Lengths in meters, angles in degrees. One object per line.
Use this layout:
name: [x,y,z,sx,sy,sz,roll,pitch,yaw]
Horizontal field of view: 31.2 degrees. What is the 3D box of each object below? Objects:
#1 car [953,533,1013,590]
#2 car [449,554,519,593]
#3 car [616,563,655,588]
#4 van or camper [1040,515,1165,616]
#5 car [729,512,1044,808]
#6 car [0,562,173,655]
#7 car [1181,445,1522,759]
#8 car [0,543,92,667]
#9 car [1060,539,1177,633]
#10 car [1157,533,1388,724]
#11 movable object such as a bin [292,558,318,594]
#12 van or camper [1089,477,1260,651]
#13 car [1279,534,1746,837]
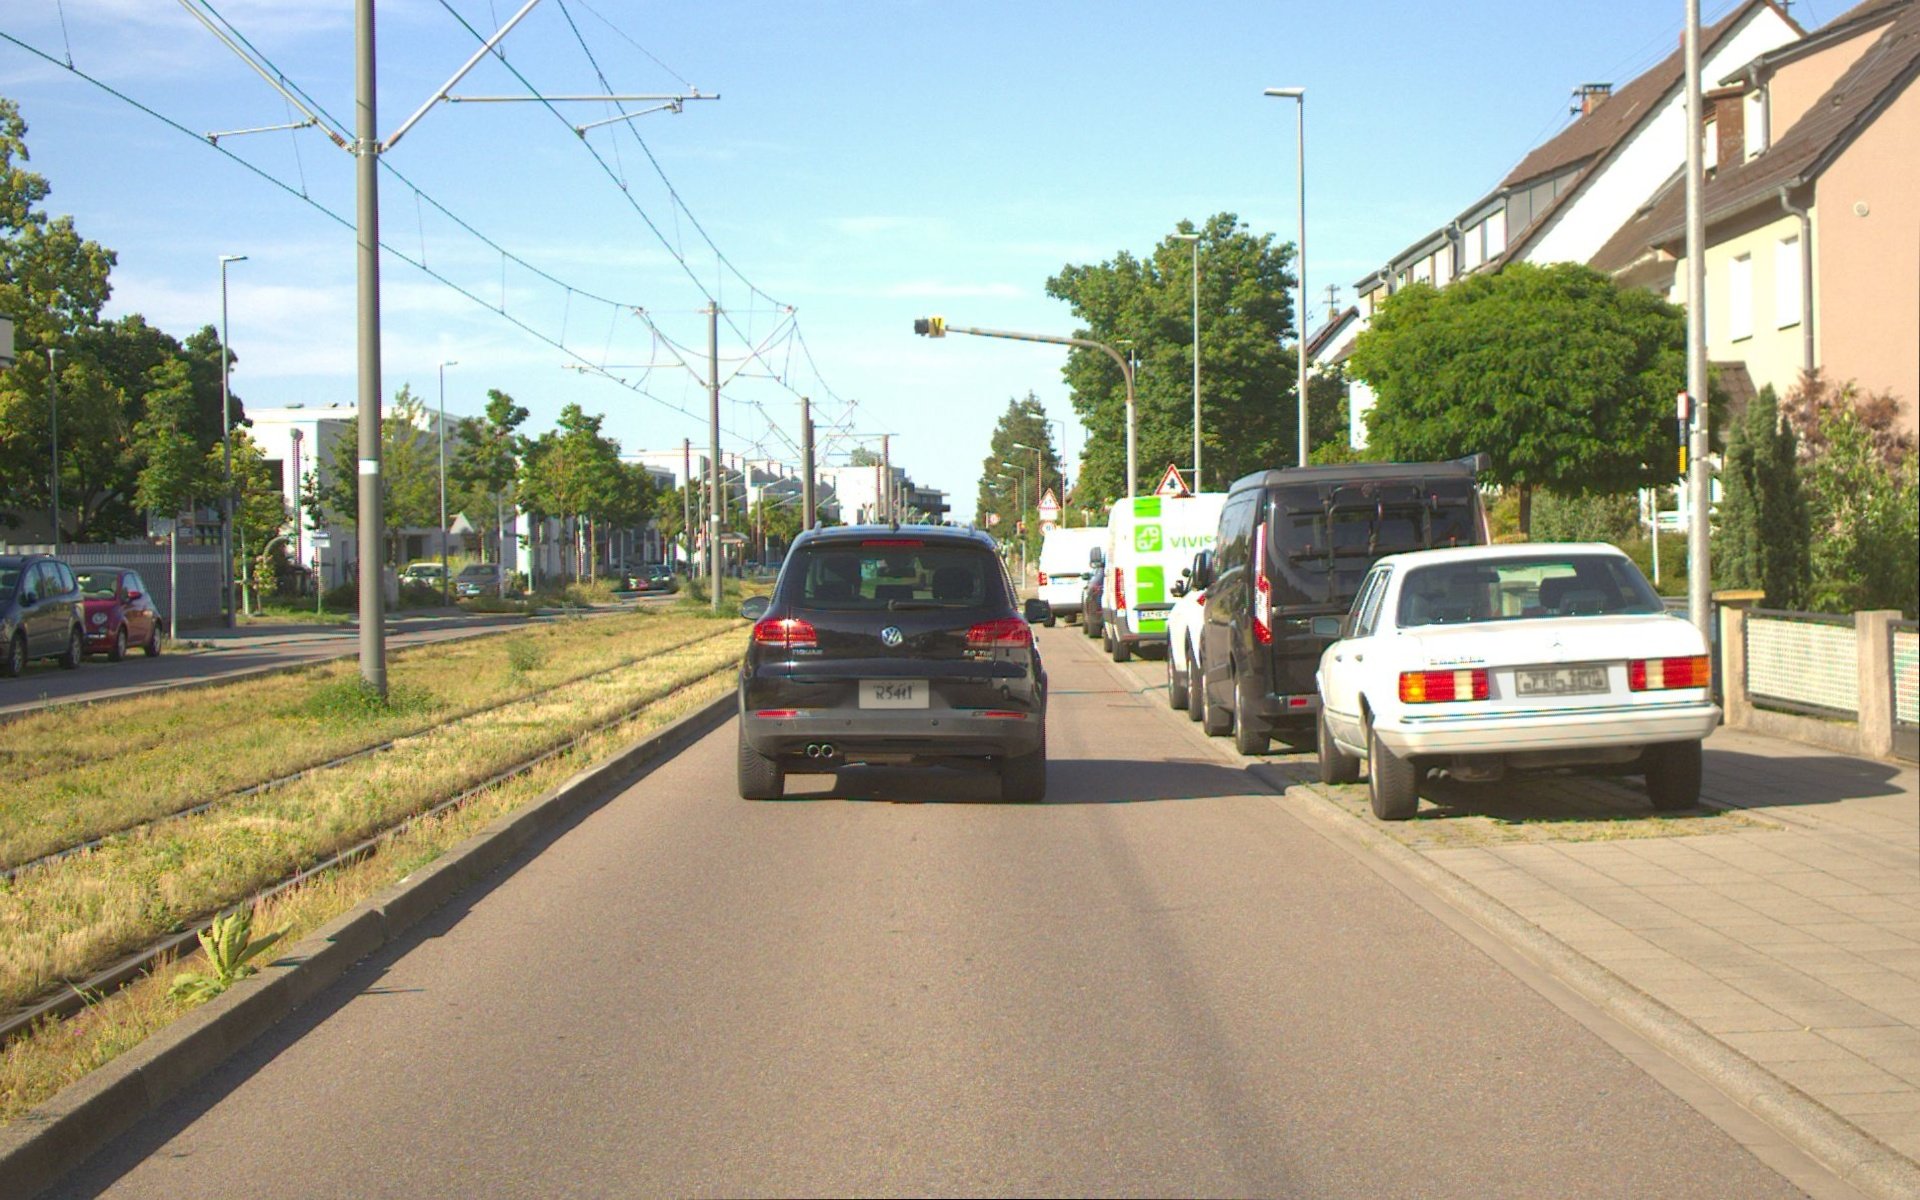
car: [0.739,-1.290,113.449,1.627,1.822,4.131,-1,1,-4]
car: [-18.739,-1.041,135.505,1.811,1.456,4.317,1,0,4]
car: [-18.734,-1.410,198.724,1.688,1.384,4.387,-2,1,2]
van or camper: [2.949,-0.719,70.045,2.028,1.950,5.293,-1,1,8]
car: [-0.486,0.325,21.604,1.775,1.664,4.000,1,0,-2]
car: [-14.061,0.106,55.560,1.695,1.400,4.079,-1,1,1]
car: [2.906,-0.018,26.695,1.960,2.137,5.336,-2,1,0]
car: [-14.055,0.029,49.537,1.819,1.678,4.846,1,1,0]
car: [2.703,-0.259,59.619,1.748,1.489,5.155,-2,0,0]
car: [2.888,0.227,32.549,1.725,1.640,4.319,-2,1,0]
movable object such as a bin: [-26.142,-0.964,137.202,0.664,1.429,1.254,1,0,8]
van or camper: [2.987,-0.512,49.219,1.993,2.263,6.305,-2,0,0]
car: [3.034,0.378,20.059,1.852,1.439,5.613,-3,1,1]
